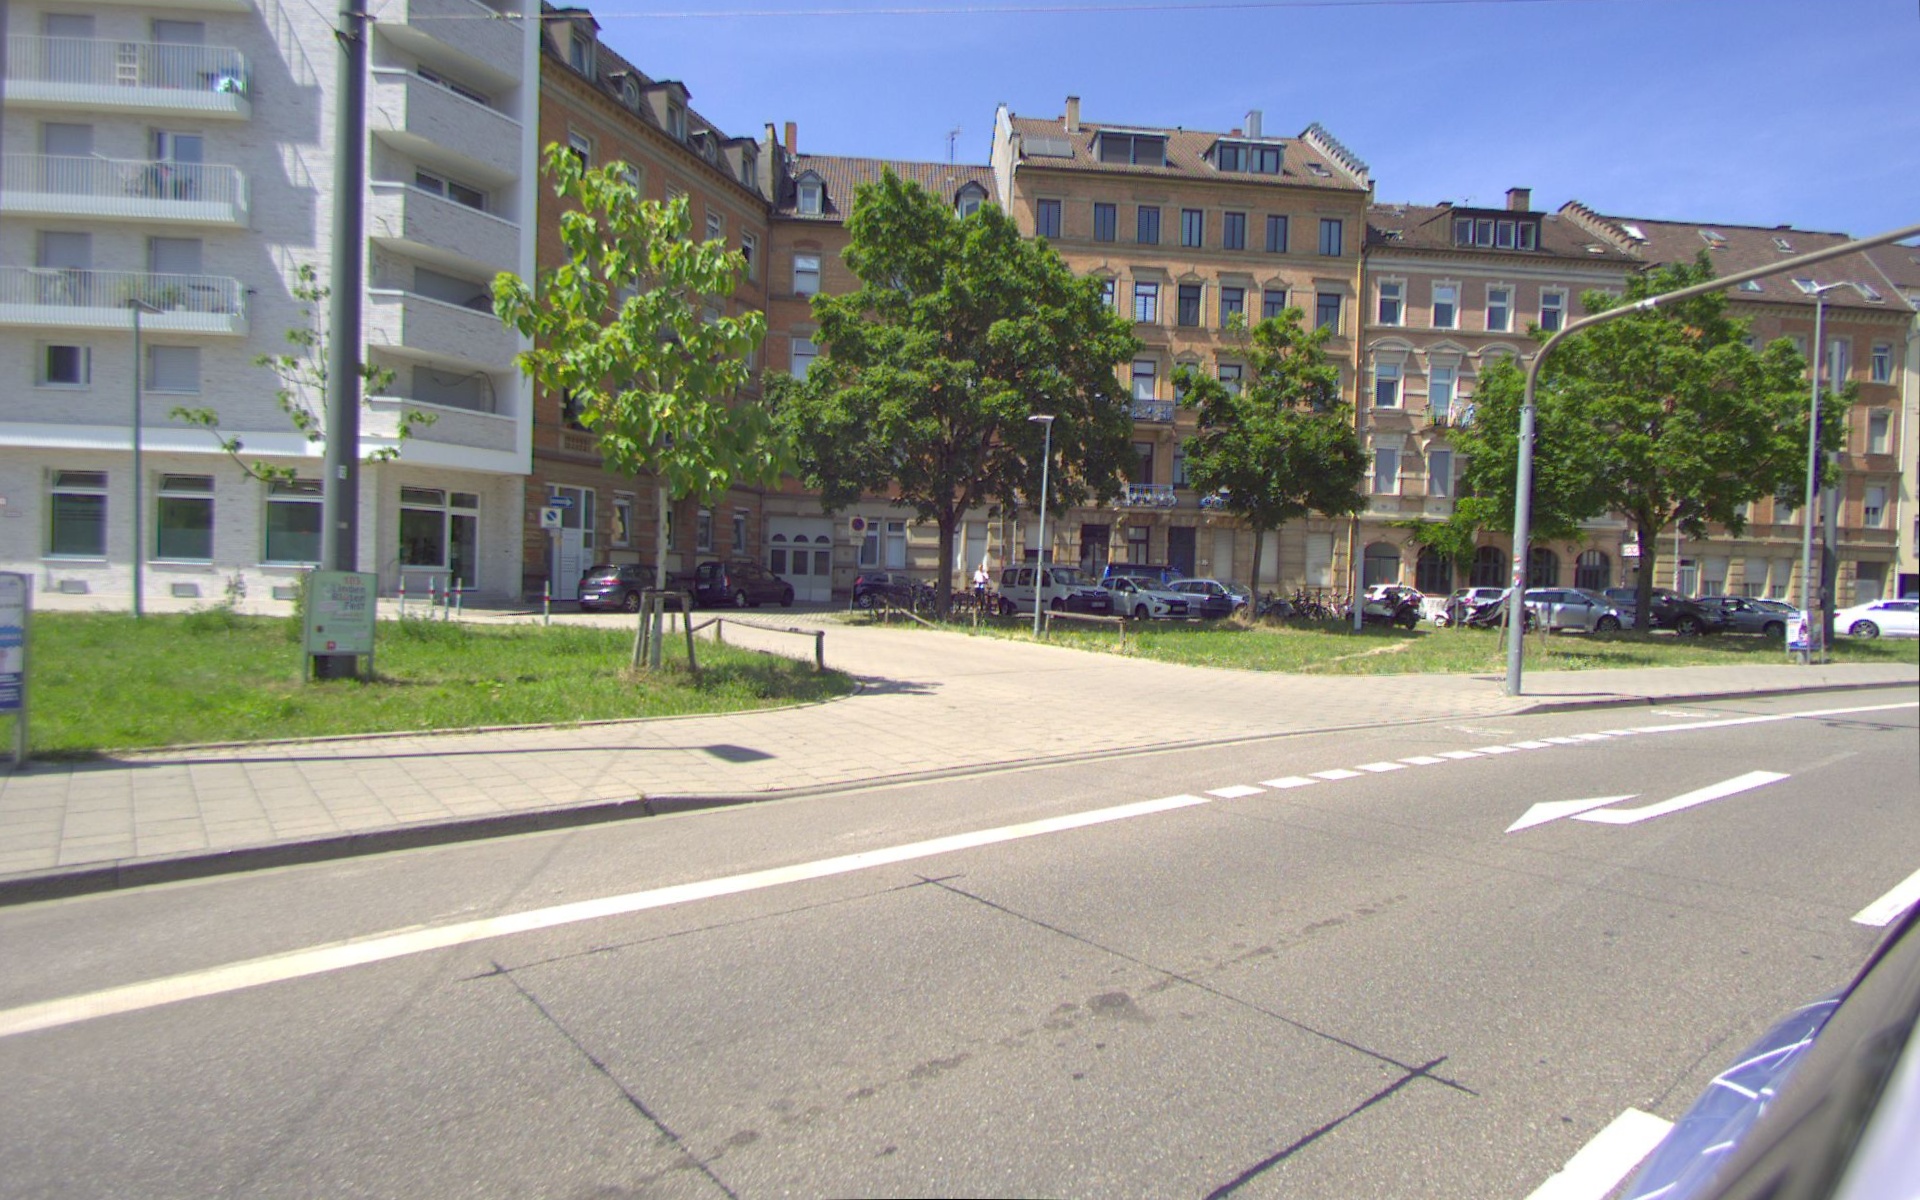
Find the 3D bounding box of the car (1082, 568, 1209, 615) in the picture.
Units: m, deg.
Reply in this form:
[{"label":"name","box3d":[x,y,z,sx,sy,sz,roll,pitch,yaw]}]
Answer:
[{"label":"car","box3d":[5.762,-0.270,31.917,1.724,1.349,4.004,2,0,-31]}]

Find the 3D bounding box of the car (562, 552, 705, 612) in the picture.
[{"label":"car","box3d":[-9.592,-0.491,30.045,1.678,1.645,4.094,1,0,25]}]

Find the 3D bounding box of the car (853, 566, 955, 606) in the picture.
[{"label":"car","box3d":[-2.233,-0.554,39.945,3.920,1.438,1.779,2,0,-5]}]

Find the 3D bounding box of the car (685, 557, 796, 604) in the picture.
[{"label":"car","box3d":[-7.694,-0.661,35.897,1.759,1.549,4.047,1,0,25]}]

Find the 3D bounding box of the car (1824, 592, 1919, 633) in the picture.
[{"label":"car","box3d":[32.846,0.450,34.695,2.115,1.330,4.774,2,0,-45]}]

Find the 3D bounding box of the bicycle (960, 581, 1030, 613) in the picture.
[{"label":"bicycle","box3d":[1.047,-0.098,31.073,2.419,0.947,0.500,2,0,43]}]

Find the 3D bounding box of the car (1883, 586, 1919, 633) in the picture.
[{"label":"car","box3d":[35.580,0.378,35.741,1.932,1.683,4.004,2,0,-30]}]

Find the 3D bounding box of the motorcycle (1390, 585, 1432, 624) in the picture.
[{"label":"motorcycle","box3d":[15.045,0.148,33.805,0.799,1.251,2.078,1,0,11]}]

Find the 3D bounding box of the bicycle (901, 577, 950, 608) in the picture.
[{"label":"bicycle","box3d":[-1.104,-0.240,31.622,0.498,0.947,2.051,2,0,-34]}]

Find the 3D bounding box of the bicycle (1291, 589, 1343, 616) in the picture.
[{"label":"bicycle","box3d":[11.181,0.071,31.690,1.444,0.815,0.493,2,0,31]}]

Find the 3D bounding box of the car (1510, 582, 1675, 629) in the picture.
[{"label":"car","box3d":[20.574,0.148,33.117,1.550,1.393,4.353,2,0,-30]}]

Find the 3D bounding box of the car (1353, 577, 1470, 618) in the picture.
[{"label":"car","box3d":[18.600,-0.089,41.792,3.922,1.549,1.843,2,0,-2]}]

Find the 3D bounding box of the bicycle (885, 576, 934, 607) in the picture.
[{"label":"bicycle","box3d":[-1.585,-0.271,31.283,0.498,0.947,2.051,2,0,-34]}]

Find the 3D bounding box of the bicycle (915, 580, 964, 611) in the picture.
[{"label":"bicycle","box3d":[-0.666,-0.143,32.000,0.498,0.947,2.051,2,0,-34]}]

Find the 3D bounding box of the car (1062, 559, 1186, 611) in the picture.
[{"label":"car","box3d":[6.558,-0.588,40.867,4.562,1.928,1.927,2,0,-4]}]

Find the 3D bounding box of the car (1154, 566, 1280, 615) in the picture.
[{"label":"car","box3d":[8.187,-0.308,32.545,1.576,1.450,3.871,2,0,-33]}]

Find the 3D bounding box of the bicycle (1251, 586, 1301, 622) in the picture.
[{"label":"bicycle","box3d":[9.040,0.112,28.985,1.352,0.959,0.474,2,0,17]}]

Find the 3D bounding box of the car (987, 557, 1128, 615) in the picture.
[{"label":"car","box3d":[2.931,-0.437,31.597,1.799,1.621,4.879,2,0,-31]}]

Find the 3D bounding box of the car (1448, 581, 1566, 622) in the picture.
[{"label":"car","box3d":[22.697,0.073,42.093,3.919,1.549,1.844,2,0,-6]}]

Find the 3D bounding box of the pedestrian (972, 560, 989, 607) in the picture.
[{"label":"pedestrian","box3d":[0.830,-0.665,41.009,0.590,1.842,0.454,2,-1,-4]}]

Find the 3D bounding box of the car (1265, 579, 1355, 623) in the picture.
[{"label":"car","box3d":[12.082,0.031,35.240,1.921,1.393,3.996,2,0,4]}]

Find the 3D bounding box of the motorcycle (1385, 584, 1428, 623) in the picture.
[{"label":"motorcycle","box3d":[13.207,0.101,29.987,0.468,1.134,1.526,2,0,-5]}]

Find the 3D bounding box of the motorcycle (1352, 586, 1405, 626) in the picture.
[{"label":"motorcycle","box3d":[12.366,0.169,29.964,0.517,1.134,1.831,2,0,-11]}]

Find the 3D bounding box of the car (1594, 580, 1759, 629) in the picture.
[{"label":"car","box3d":[23.556,0.122,33.420,1.762,1.488,4.096,2,0,-31]}]

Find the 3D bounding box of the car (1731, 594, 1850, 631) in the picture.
[{"label":"car","box3d":[35.158,0.503,42.872,3.641,1.438,1.786,2,0,-5]}]

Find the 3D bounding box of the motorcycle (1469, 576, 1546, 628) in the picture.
[{"label":"motorcycle","box3d":[15.885,0.053,29.370,1.820,1.430,0.678,2,2,-3]}]

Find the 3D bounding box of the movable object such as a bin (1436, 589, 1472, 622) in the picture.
[{"label":"movable object such as a bin","box3d":[15.031,0.166,30.803,0.689,0.949,0.987,1,0,7]}]

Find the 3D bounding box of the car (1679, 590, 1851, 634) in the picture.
[{"label":"car","box3d":[26.517,0.374,33.471,1.931,1.330,4.007,2,0,-26]}]

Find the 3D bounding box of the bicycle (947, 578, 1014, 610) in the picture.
[{"label":"bicycle","box3d":[0.638,-0.194,32.419,2.419,0.947,0.500,3,1,43]}]
